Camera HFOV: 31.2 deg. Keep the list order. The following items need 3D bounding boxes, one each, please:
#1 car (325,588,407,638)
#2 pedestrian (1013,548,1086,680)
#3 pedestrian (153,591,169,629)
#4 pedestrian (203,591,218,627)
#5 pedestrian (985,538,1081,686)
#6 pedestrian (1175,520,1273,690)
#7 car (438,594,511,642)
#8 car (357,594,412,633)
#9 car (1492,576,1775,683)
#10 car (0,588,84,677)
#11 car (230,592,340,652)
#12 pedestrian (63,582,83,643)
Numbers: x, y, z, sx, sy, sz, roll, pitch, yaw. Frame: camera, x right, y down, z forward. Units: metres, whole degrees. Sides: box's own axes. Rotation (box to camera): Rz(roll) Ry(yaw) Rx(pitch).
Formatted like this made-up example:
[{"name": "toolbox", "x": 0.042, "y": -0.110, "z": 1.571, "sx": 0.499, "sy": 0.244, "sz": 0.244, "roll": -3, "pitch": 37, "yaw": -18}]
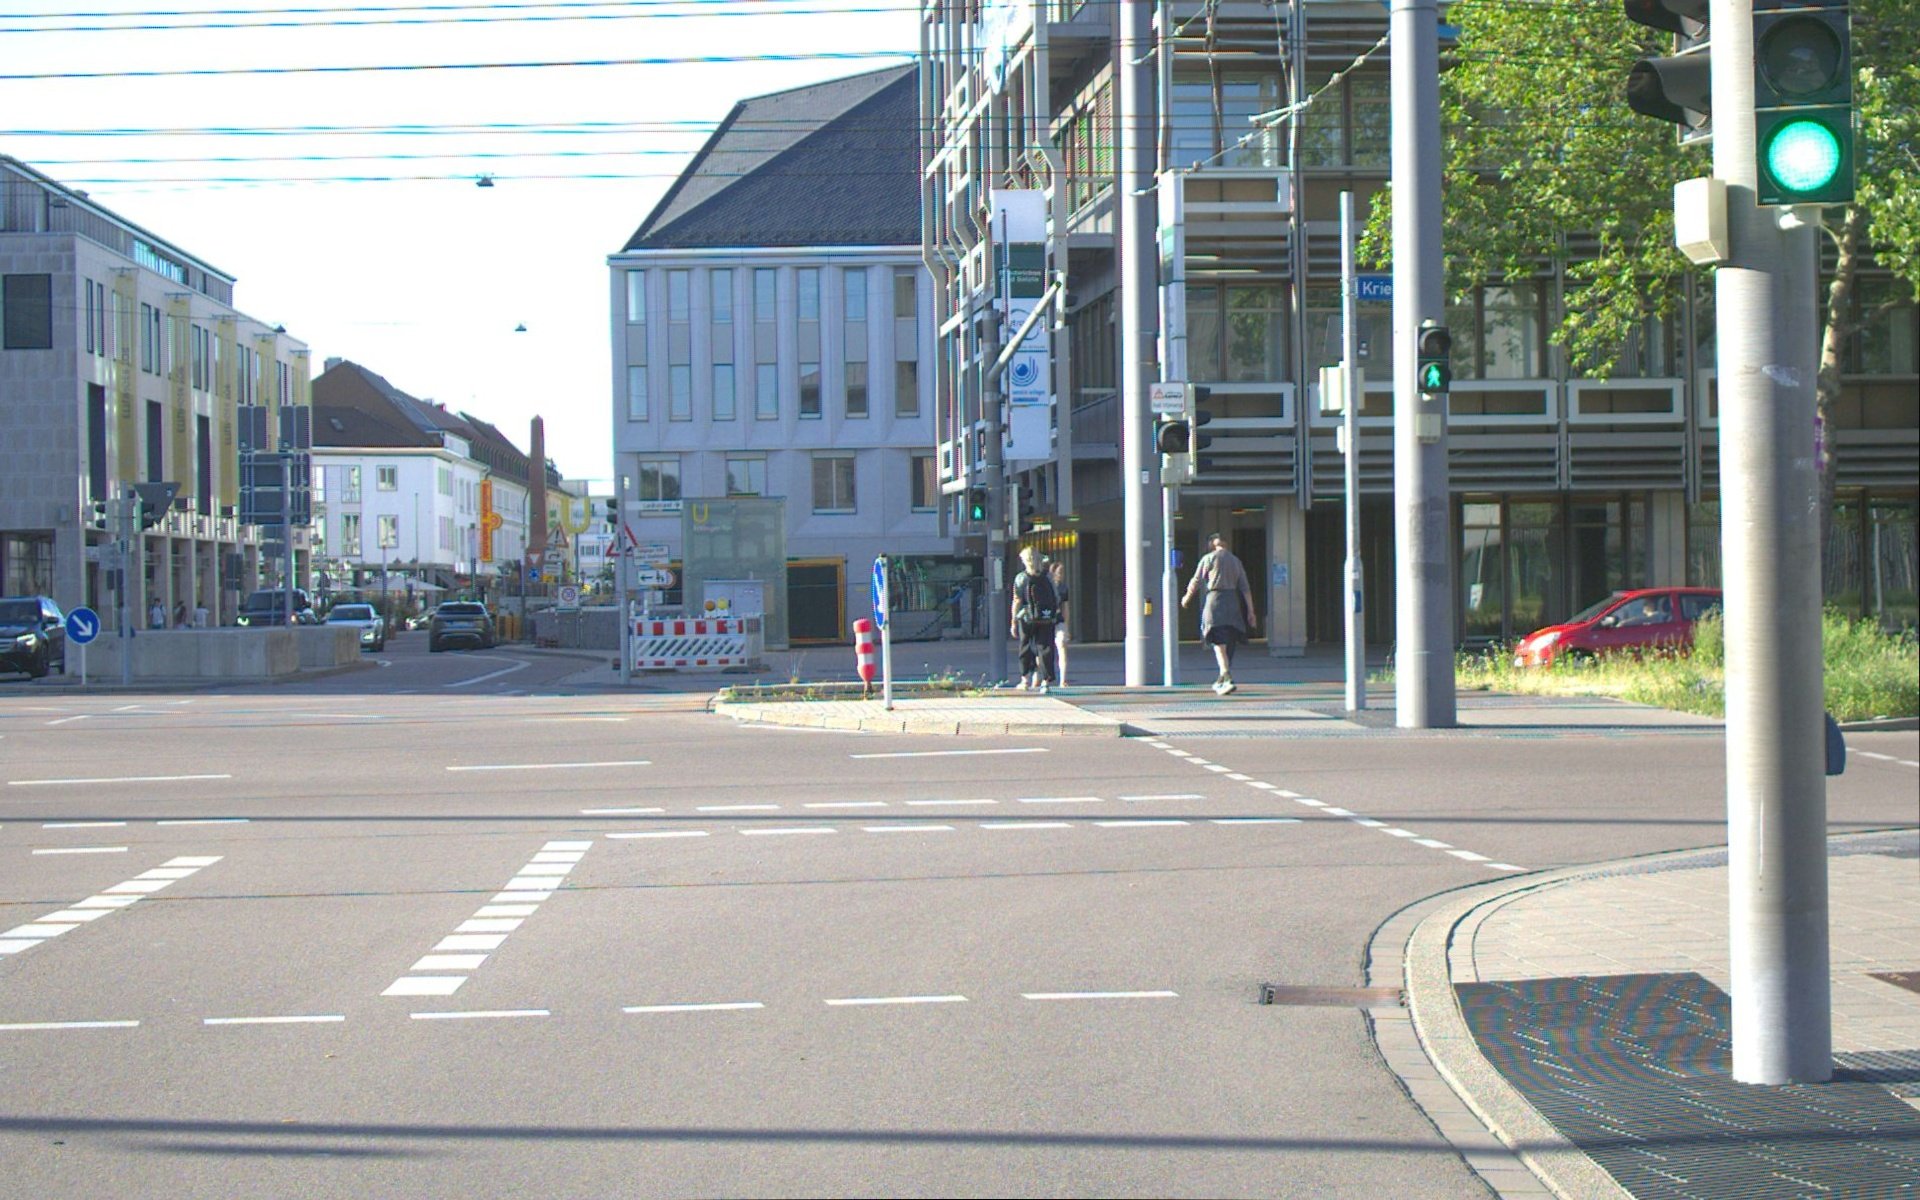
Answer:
[{"name": "car", "x": -20.679, "y": 0.455, "z": 119.828, "sx": 2.174, "sy": 1.686, "sz": 5.616, "roll": 0, "pitch": 0, "yaw": -3}, {"name": "pedestrian", "x": 1.304, "y": 0.197, "z": 50.255, "sx": 1.012, "sy": 1.904, "sz": 1.051, "roll": -1, "pitch": 0, "yaw": 0}, {"name": "pedestrian", "x": -28.187, "y": 0.355, "z": 121.306, "sx": 0.488, "sy": 1.352, "sz": 0.564, "roll": 1, "pitch": 0, "yaw": -6}, {"name": "pedestrian", "x": -28.385, "y": 0.343, "z": 130.261, "sx": 0.488, "sy": 1.352, "sz": 0.564, "roll": 1, "pitch": 0, "yaw": -6}, {"name": "pedestrian", "x": 0.776, "y": 0.119, "z": 36.856, "sx": 0.895, "sy": 1.544, "sz": 0.924, "roll": -1, "pitch": 2, "yaw": -6}, {"name": "pedestrian", "x": 2.742, "y": 0.040, "z": 35.784, "sx": 0.855, "sy": 1.738, "sz": 0.739, "roll": -1, "pitch": 1, "yaw": -8}, {"name": "car", "x": -15.060, "y": 0.549, "z": 106.873, "sx": 1.936, "sy": 1.445, "sz": 4.262, "roll": 0, "pitch": 0, "yaw": -4}, {"name": "car", "x": -28.435, "y": 0.691, "z": 169.956, "sx": 2.174, "sy": 1.866, "sz": 5.616, "roll": 0, "pitch": 0, "yaw": -4}, {"name": "car", "x": 10.197, "y": 0.465, "z": 52.263, "sx": 3.867, "sy": 1.481, "sz": 1.846, "roll": -1, "pitch": -3, "yaw": -2}, {"name": "car", "x": -18.451, "y": 0.613, "z": 67.069, "sx": 1.937, "sy": 1.672, "sz": 4.295, "roll": -1, "pitch": 0, "yaw": -5}, {"name": "car", "x": -19.619, "y": 0.632, "z": 100.088, "sx": 2.174, "sy": 1.686, "sz": 5.486, "roll": -1, "pitch": 0, "yaw": -1}, {"name": "pedestrian", "x": -29.654, "y": 0.420, "z": 114.958, "sx": 0.616, "sy": 2.007, "sz": 0.478, "roll": 1, "pitch": 0, "yaw": -15}]
